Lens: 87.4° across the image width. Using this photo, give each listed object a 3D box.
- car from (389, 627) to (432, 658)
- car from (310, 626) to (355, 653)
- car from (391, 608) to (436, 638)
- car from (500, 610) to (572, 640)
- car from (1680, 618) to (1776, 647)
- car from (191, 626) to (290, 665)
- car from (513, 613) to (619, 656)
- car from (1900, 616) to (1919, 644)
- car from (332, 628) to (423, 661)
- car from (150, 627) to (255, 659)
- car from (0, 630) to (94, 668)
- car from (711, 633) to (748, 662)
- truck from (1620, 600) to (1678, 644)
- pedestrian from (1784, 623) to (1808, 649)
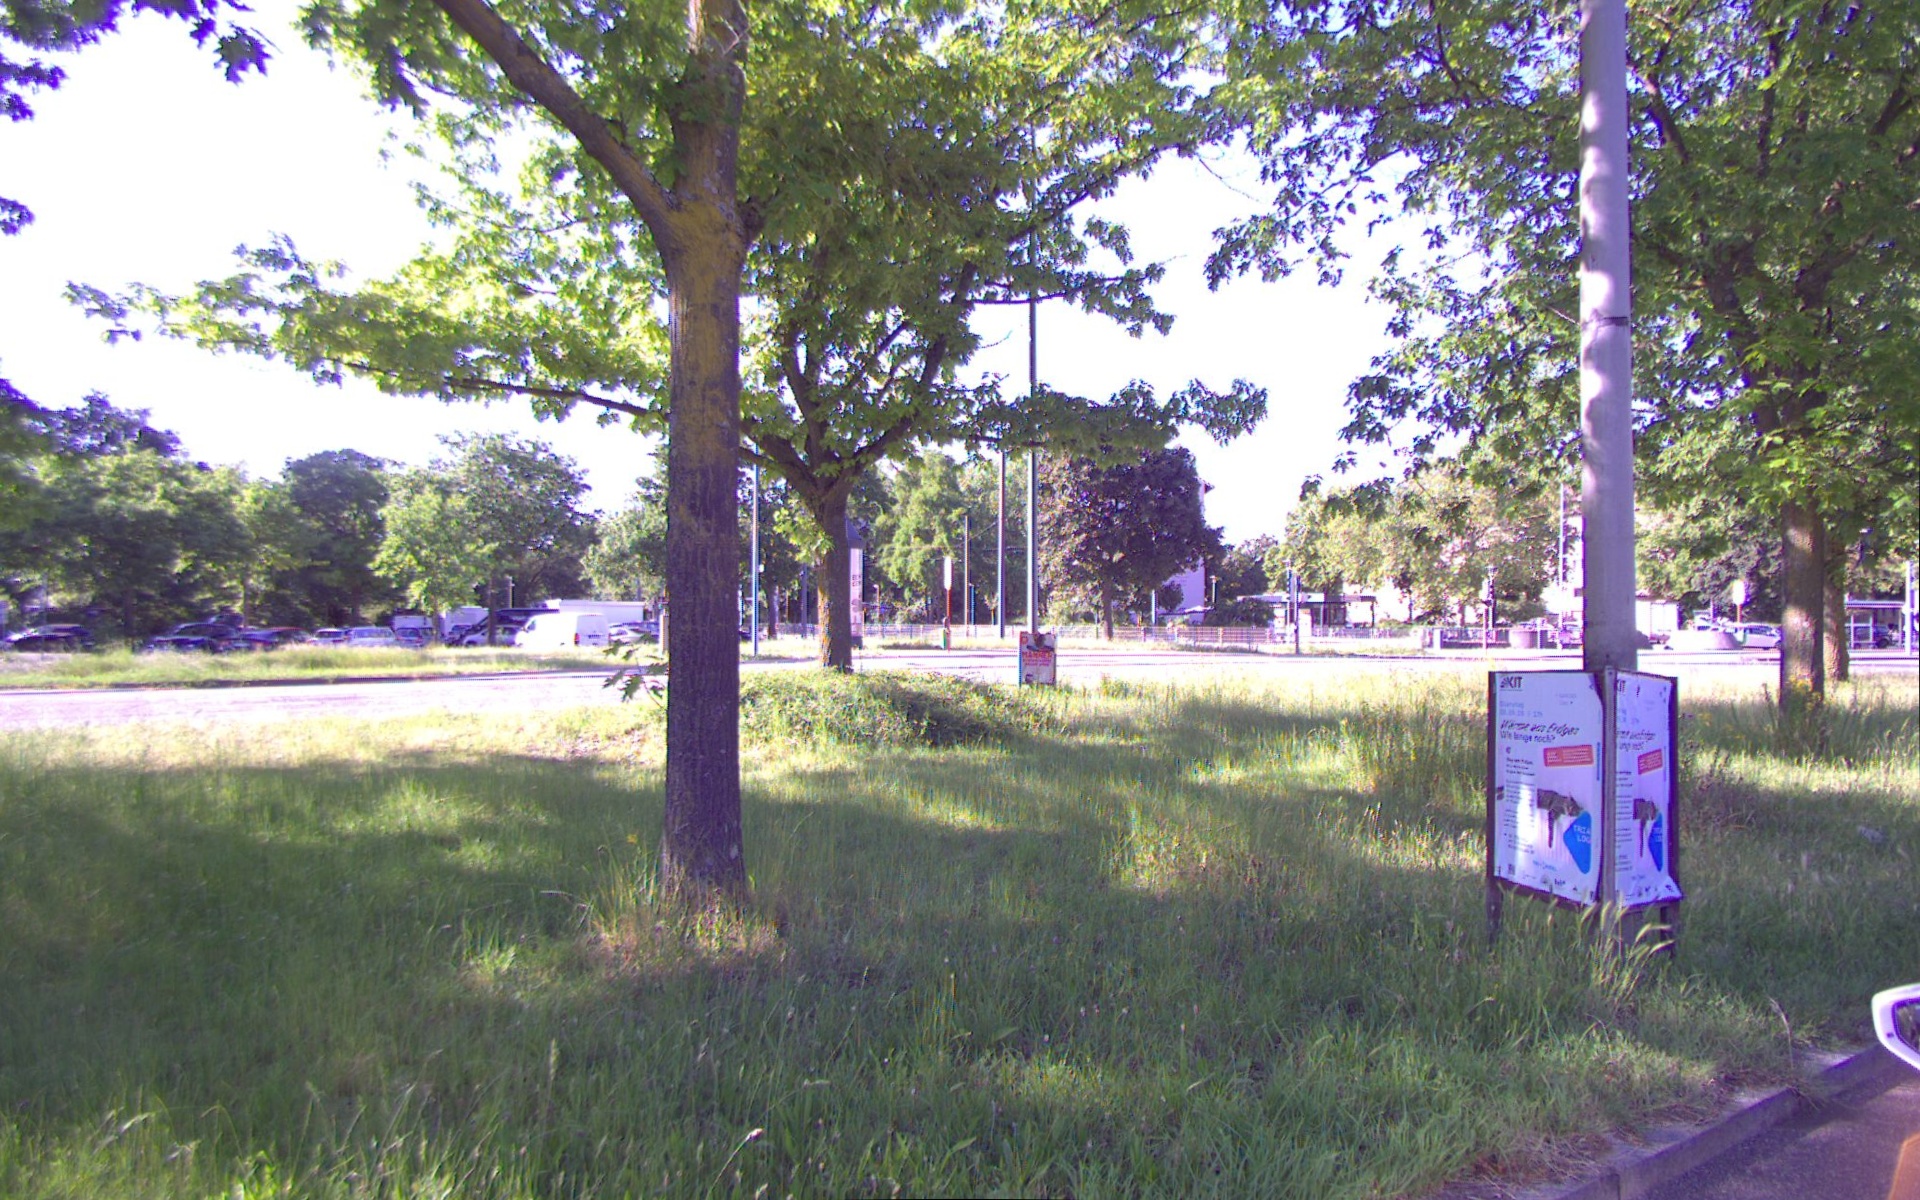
[{"bbox_3d":[-26.697,2.032,48.784,1.602,1.438,3.050,1,-1,-33],"label":"car"},{"bbox_3d":[-29.289,1.828,46.870,1.603,1.194,3.047,1,-1,-35],"label":"car"},{"bbox_3d":[-32.483,1.370,59.791,1.865,1.691,3.733,1,-1,-22],"label":"car"},{"bbox_3d":[-24.125,1.417,57.294,3.698,1.691,1.883,1,-1,-23],"label":"car"},{"bbox_3d":[46.913,1.964,61.466,4.233,1.706,2.001,0,-1,9],"label":"car"},{"bbox_3d":[-25.229,1.566,35.249,2.769,1.323,1.326,1,-1,-40],"label":"car"},{"bbox_3d":[-17.213,1.477,43.805,4.670,1.762,2.024,0,-1,34],"label":"car"},{"bbox_3d":[71.683,2.214,73.295,1.910,2.040,4.155,1,-1,-31],"label":"car"},{"bbox_3d":[-21.822,1.637,37.639,2.769,1.171,1.326,1,-1,-40],"label":"car"},{"bbox_3d":[-26.838,1.507,35.634,1.315,1.078,2.777,-1,-1,42],"label":"car"},{"bbox_3d":[-47.654,2.502,51.910,1.966,1.817,3.990,0,-1,32],"label":"car"},{"bbox_3d":[-12.026,2.457,52.492,1.589,1.438,3.073,0,-1,-8],"label":"car"},{"bbox_3d":[46.647,1.478,68.091,1.960,2.842,4.002,0,-1,15],"label":"truck"},{"bbox_3d":[53.632,2.305,64.441,0.781,1.629,0.923,0,-1,9],"label":"pedestrian"}]
